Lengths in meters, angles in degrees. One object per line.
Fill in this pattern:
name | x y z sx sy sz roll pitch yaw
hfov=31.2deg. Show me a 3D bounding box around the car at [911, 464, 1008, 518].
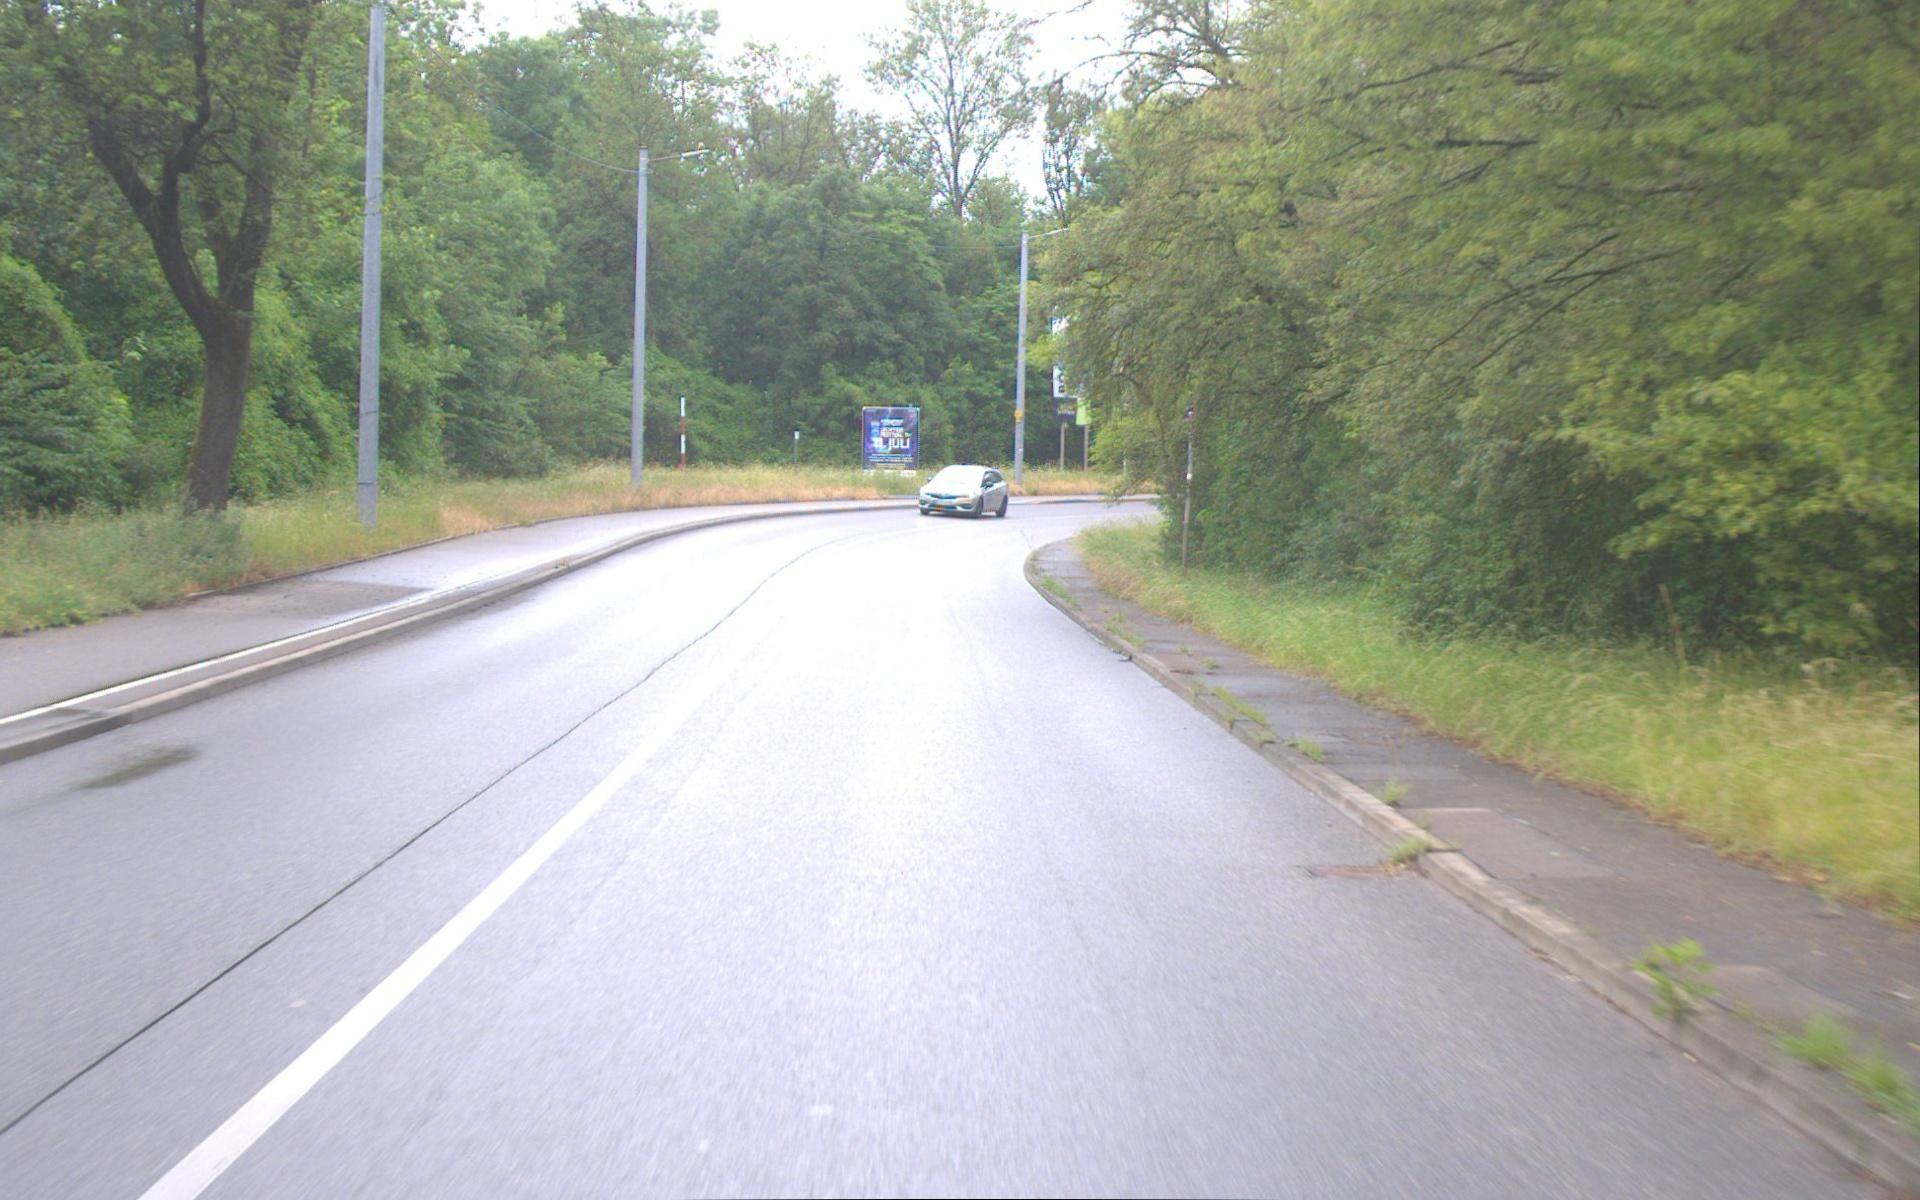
car | 0.012 -3.199 100.916 1.781 1.425 4.472 5 3 13
